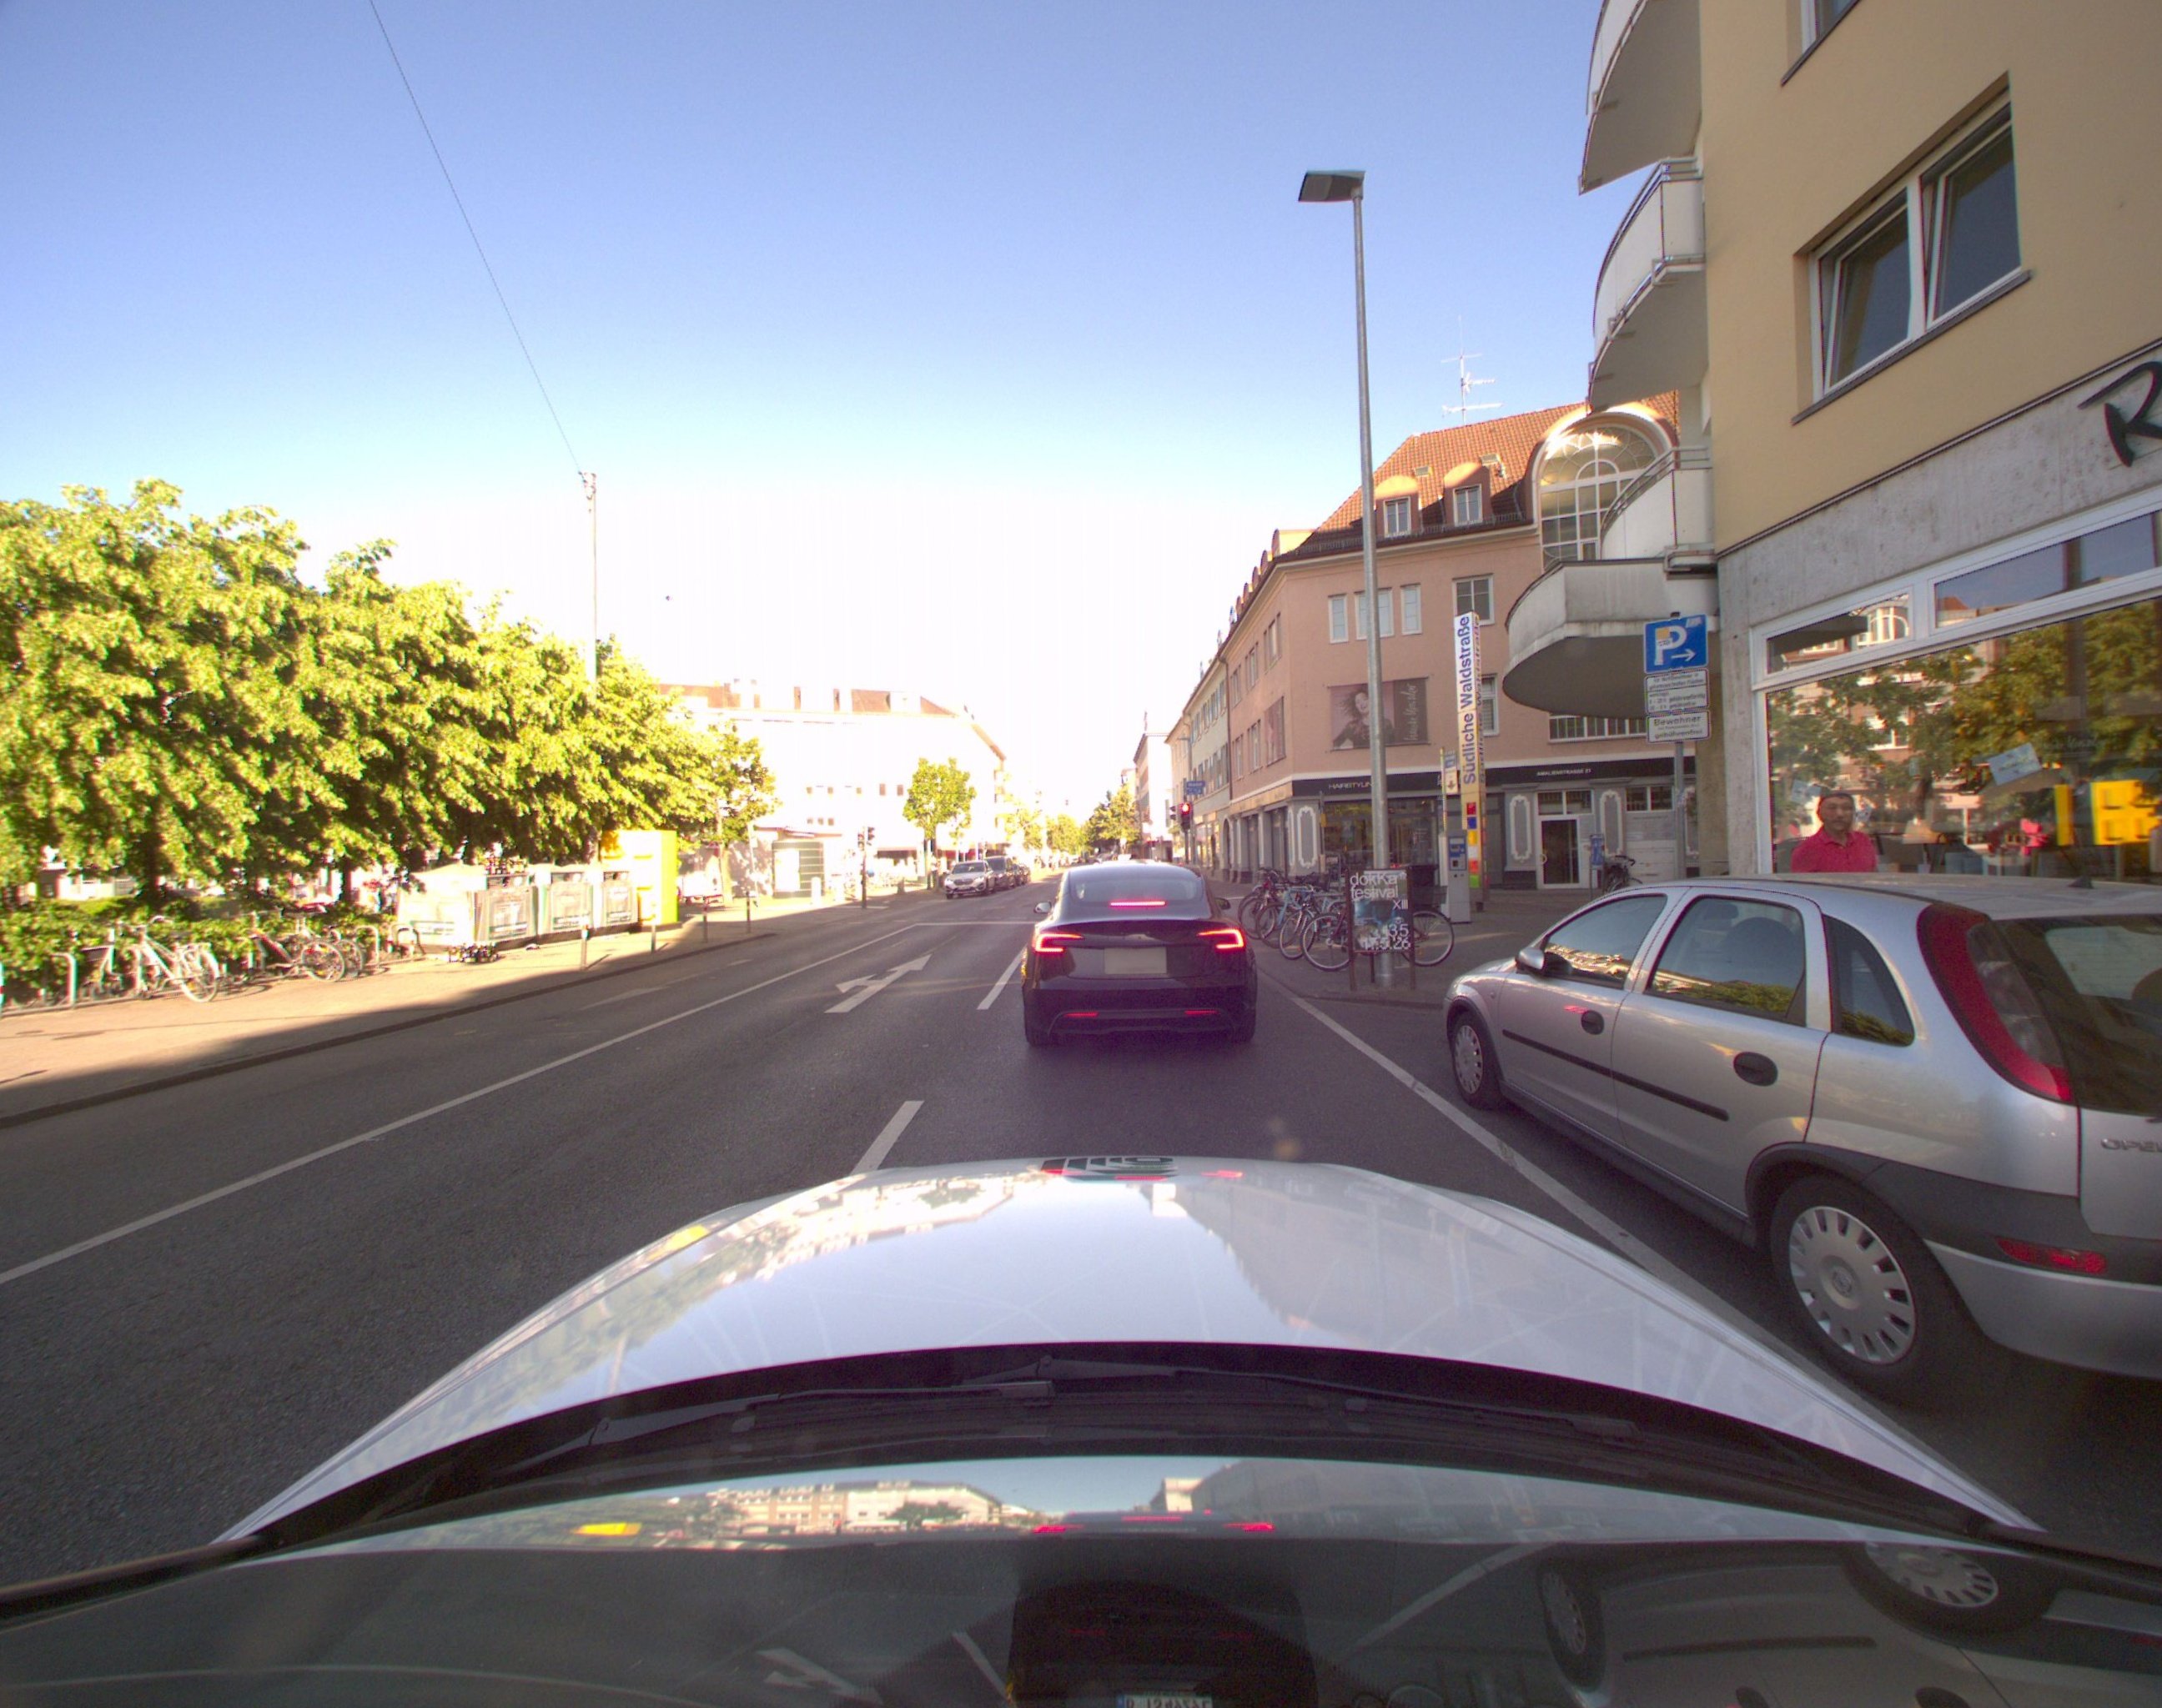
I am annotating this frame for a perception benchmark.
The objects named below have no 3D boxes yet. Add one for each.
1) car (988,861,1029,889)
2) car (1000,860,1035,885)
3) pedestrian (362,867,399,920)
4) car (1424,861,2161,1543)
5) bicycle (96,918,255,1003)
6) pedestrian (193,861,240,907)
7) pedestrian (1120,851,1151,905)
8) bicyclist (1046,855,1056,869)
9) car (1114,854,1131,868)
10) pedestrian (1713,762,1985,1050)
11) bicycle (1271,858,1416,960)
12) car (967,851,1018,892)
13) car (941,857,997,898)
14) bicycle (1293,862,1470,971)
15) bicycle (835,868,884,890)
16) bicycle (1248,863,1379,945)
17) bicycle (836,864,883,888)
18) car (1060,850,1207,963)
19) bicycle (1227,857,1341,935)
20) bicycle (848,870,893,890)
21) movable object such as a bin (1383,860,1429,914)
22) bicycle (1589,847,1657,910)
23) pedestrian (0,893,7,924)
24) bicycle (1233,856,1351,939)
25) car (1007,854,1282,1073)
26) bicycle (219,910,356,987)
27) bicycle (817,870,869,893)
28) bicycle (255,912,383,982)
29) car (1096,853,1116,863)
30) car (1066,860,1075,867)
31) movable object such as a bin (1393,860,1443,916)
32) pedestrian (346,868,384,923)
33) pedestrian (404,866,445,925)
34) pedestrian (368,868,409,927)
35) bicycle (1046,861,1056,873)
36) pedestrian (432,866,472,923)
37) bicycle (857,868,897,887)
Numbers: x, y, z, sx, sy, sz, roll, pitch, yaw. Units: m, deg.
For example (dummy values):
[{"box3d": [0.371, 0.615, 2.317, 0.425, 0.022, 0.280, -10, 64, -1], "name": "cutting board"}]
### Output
[{"box3d": [-4.369, 1.238, 49.645, 1.988, 1.410, 4.672, -5, 0, -1], "name": "car"}, {"box3d": [-4.400, 1.262, 57.243, 1.988, 1.436, 4.672, -5, 0, -1], "name": "car"}, {"box3d": [-27.289, 1.528, 31.730, 0.980, 2.013, 0.910, -2, -1, 38], "name": "pedestrian"}, {"box3d": [2.969, 0.735, 3.489, 1.607, 1.382, 3.645, 0, 0, 2], "name": "car"}, {"box3d": [-11.456, 1.338, 10.315, 1.590, 1.018, 0.430, -1, 0, 3], "name": "bicycle"}, {"box3d": [-38.777, 1.351, 36.546, 1.272, 2.013, 0.908, -1, 0, 13], "name": "pedestrian"}, {"box3d": [1.611, 0.704, 24.098, 0.747, 1.552, 0.697, -1, 0, -10], "name": "pedestrian"}, {"box3d": [-3.517, 0.930, 95.850, 1.123, 1.628, 0.965, -1, 0, -1], "name": "bicyclist"}, {"box3d": [5.169, 0.895, 100.721, 1.986, 1.629, 4.002, -2, 0, 2], "name": "car"}, {"box3d": [5.269, 0.340, 5.689, 0.859, 1.784, 1.011, -5, -1, 10], "name": "pedestrian"}, {"box3d": [3.540, 0.729, 11.119, 1.713, 1.268, 0.792, -3, -1, 7], "name": "bicycle"}, {"box3d": [-4.592, 0.867, 42.824, 1.827, 1.845, 4.677, -5, 0, 2], "name": "car"}, {"box3d": [-4.949, 0.998, 36.556, 1.802, 1.555, 4.308, -5, 0, -1], "name": "car"}, {"box3d": [3.636, 0.755, 9.983, 1.876, 1.193, 0.693, -3, 0, 7], "name": "bicycle"}, {"box3d": [-12.382, 1.374, 45.514, 2.453, 1.156, 0.843, -1, 0, 0], "name": "bicycle"}, {"box3d": [3.520, 0.757, 12.471, 1.788, 1.124, 0.783, -3, -1, 7], "name": "bicycle"}, {"box3d": [-12.912, 1.254, 47.461, 2.472, 1.324, 0.921, -1, 0, -4], "name": "bicycle"}, {"box3d": [0.738, 0.728, 13.279, 1.987, 1.512, 4.175, -1, 0, 0], "name": "car"}, {"box3d": [3.620, 0.742, 14.680, 1.851, 1.258, 0.834, -3, -1, 7], "name": "bicycle"}, {"box3d": [-12.956, 1.580, 50.219, 2.528, 1.156, 0.841, -1, 0, -4], "name": "bicycle"}, {"box3d": [6.749, 0.678, 16.947, 0.730, 1.092, 0.628, 0, -1, 3], "name": "movable object such as a bin"}, {"box3d": [11.059, 0.478, 16.698, 0.653, 1.199, 2.223, -2, 0, 21], "name": "bicycle"}, {"box3d": [-71.051, 3.567, 53.198, 1.385, 2.013, 0.910, -1, -1, 44], "name": "pedestrian"}, {"box3d": [3.504, 0.714, 13.652, 1.738, 1.267, 0.782, -3, -1, 4], "name": "bicycle"}, {"box3d": [0.497, 0.762, 7.571, 1.841, 1.455, 4.001, -2, 0, 2], "name": "car"}, {"box3d": [-11.320, 1.343, 11.634, 1.561, 1.023, 0.430, -1, 0, 3], "name": "bicycle"}, {"box3d": [-12.585, 1.447, 43.140, 2.497, 1.156, 0.843, -1, 0, 0], "name": "bicycle"}, {"box3d": [-11.358, 1.380, 12.161, 1.517, 0.958, 0.431, -1, 1, 3], "name": "bicycle"}, {"box3d": [5.099, 0.846, 167.640, 3.974, 2.013, 2.000, -1, 0, 0], "name": "car"}, {"box3d": [-2.509, 2.161, 187.335, 1.988, 1.637, 3.998, -1, 0, -1], "name": "car"}, {"box3d": [6.741, 0.673, 16.309, 0.749, 1.092, 0.628, 0, -1, 3], "name": "movable object such as a bin"}, {"box3d": [-27.058, 1.556, 30.774, 0.980, 2.013, 0.910, -2, -1, 38], "name": "pedestrian"}, {"box3d": [-23.055, 1.440, 28.613, 0.980, 2.013, 0.910, -2, -1, 38], "name": "pedestrian"}, {"box3d": [-24.432, 1.519, 28.744, 0.980, 2.013, 0.910, -2, -1, 38], "name": "pedestrian"}, {"box3d": [-3.490, 1.545, 95.753, 1.108, 1.344, 3.998, -1, 0, -1], "name": "bicycle"}, {"box3d": [-22.743, 1.438, 29.446, 0.980, 2.013, 0.910, -2, -1, 38], "name": "pedestrian"}, {"box3d": [-13.172, 1.525, 52.654, 2.318, 1.156, 0.841, -1, 0, -4], "name": "bicycle"}]
